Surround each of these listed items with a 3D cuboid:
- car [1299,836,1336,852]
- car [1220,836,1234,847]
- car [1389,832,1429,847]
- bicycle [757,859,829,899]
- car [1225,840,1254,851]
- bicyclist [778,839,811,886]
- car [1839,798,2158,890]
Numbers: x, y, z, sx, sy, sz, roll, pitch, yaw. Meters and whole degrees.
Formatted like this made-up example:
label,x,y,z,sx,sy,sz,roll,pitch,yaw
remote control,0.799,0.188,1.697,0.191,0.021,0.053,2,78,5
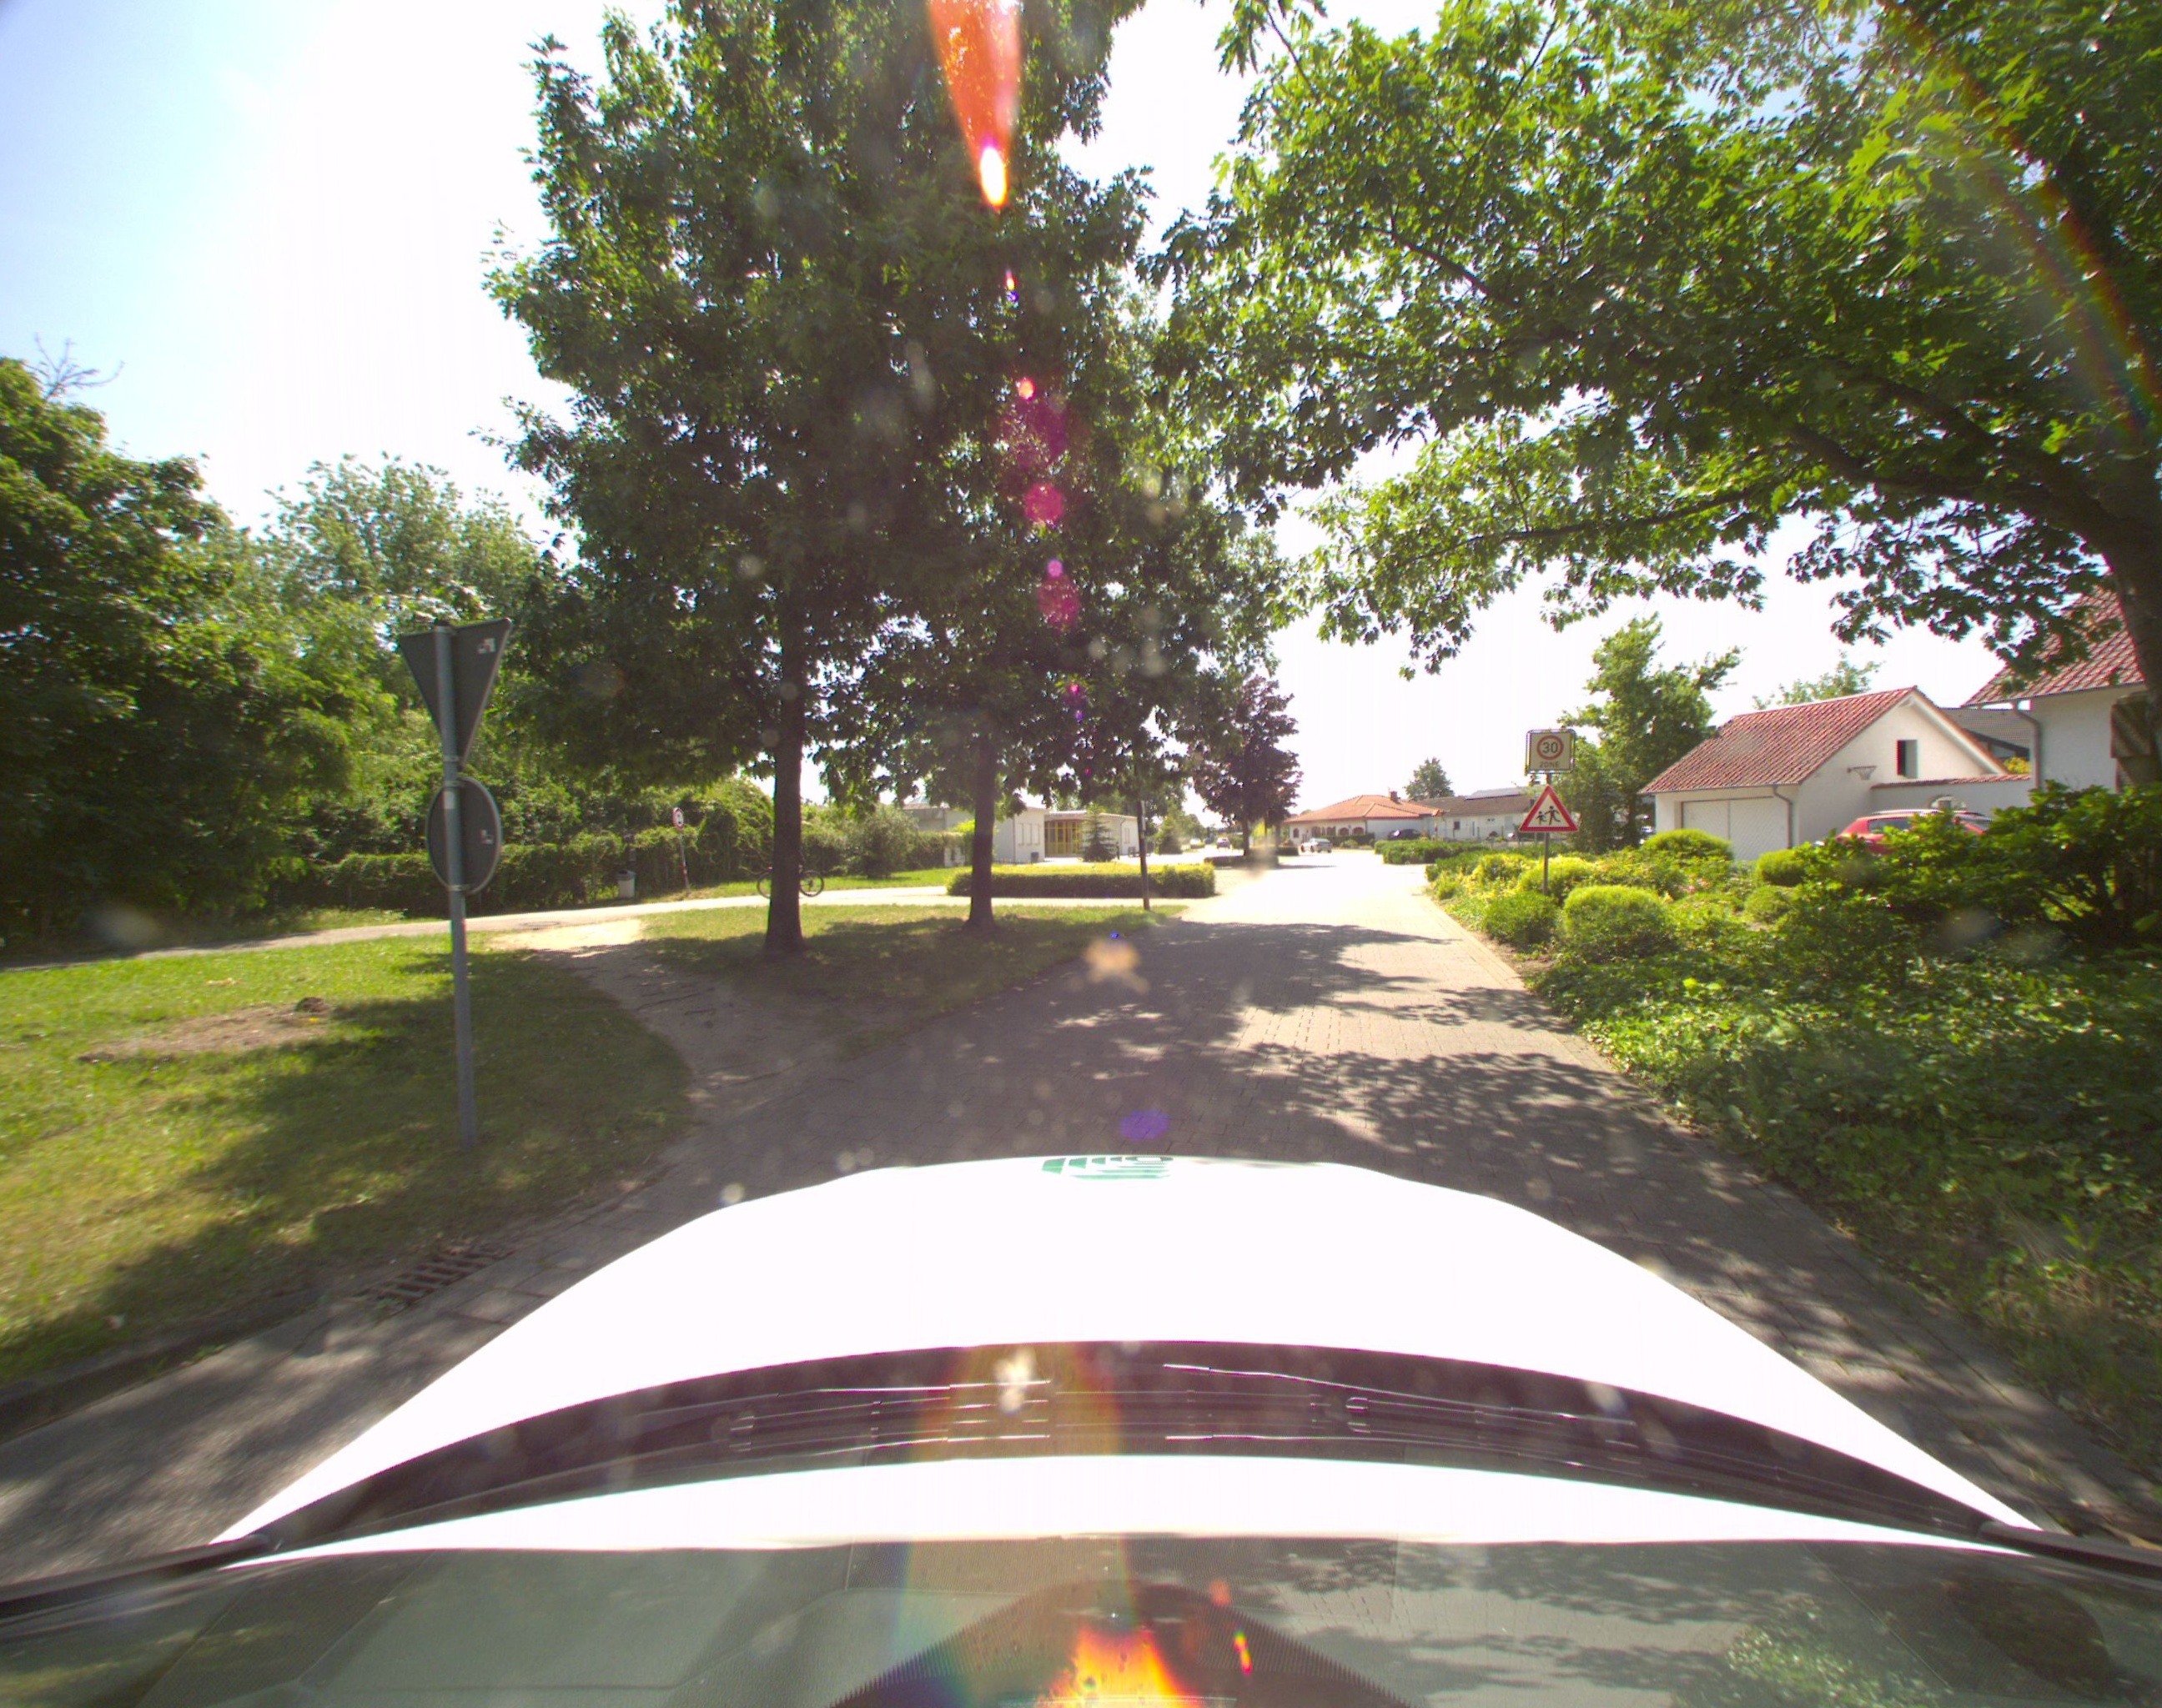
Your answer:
label,x,y,z,sx,sy,sz,roll,pitch,yaw
car,20.626,-0.860,71.114,1.616,1.288,3.542,-1,1,-12
car,19.440,-1.659,108.199,1.603,1.288,3.569,-1,1,13
car,34.958,-1.544,86.740,3.843,1.542,1.839,-1,1,-26
bicycle,-7.388,0.625,20.904,1.627,0.929,0.592,-2,1,-35
car,19.248,-1.051,99.113,1.995,1.288,3.983,-1,1,-12
bicyclist,-7.361,0.217,20.928,0.651,1.164,0.592,-2,1,-35
car,18.196,-0.205,16.463,1.661,1.601,4.012,-1,1,-11
